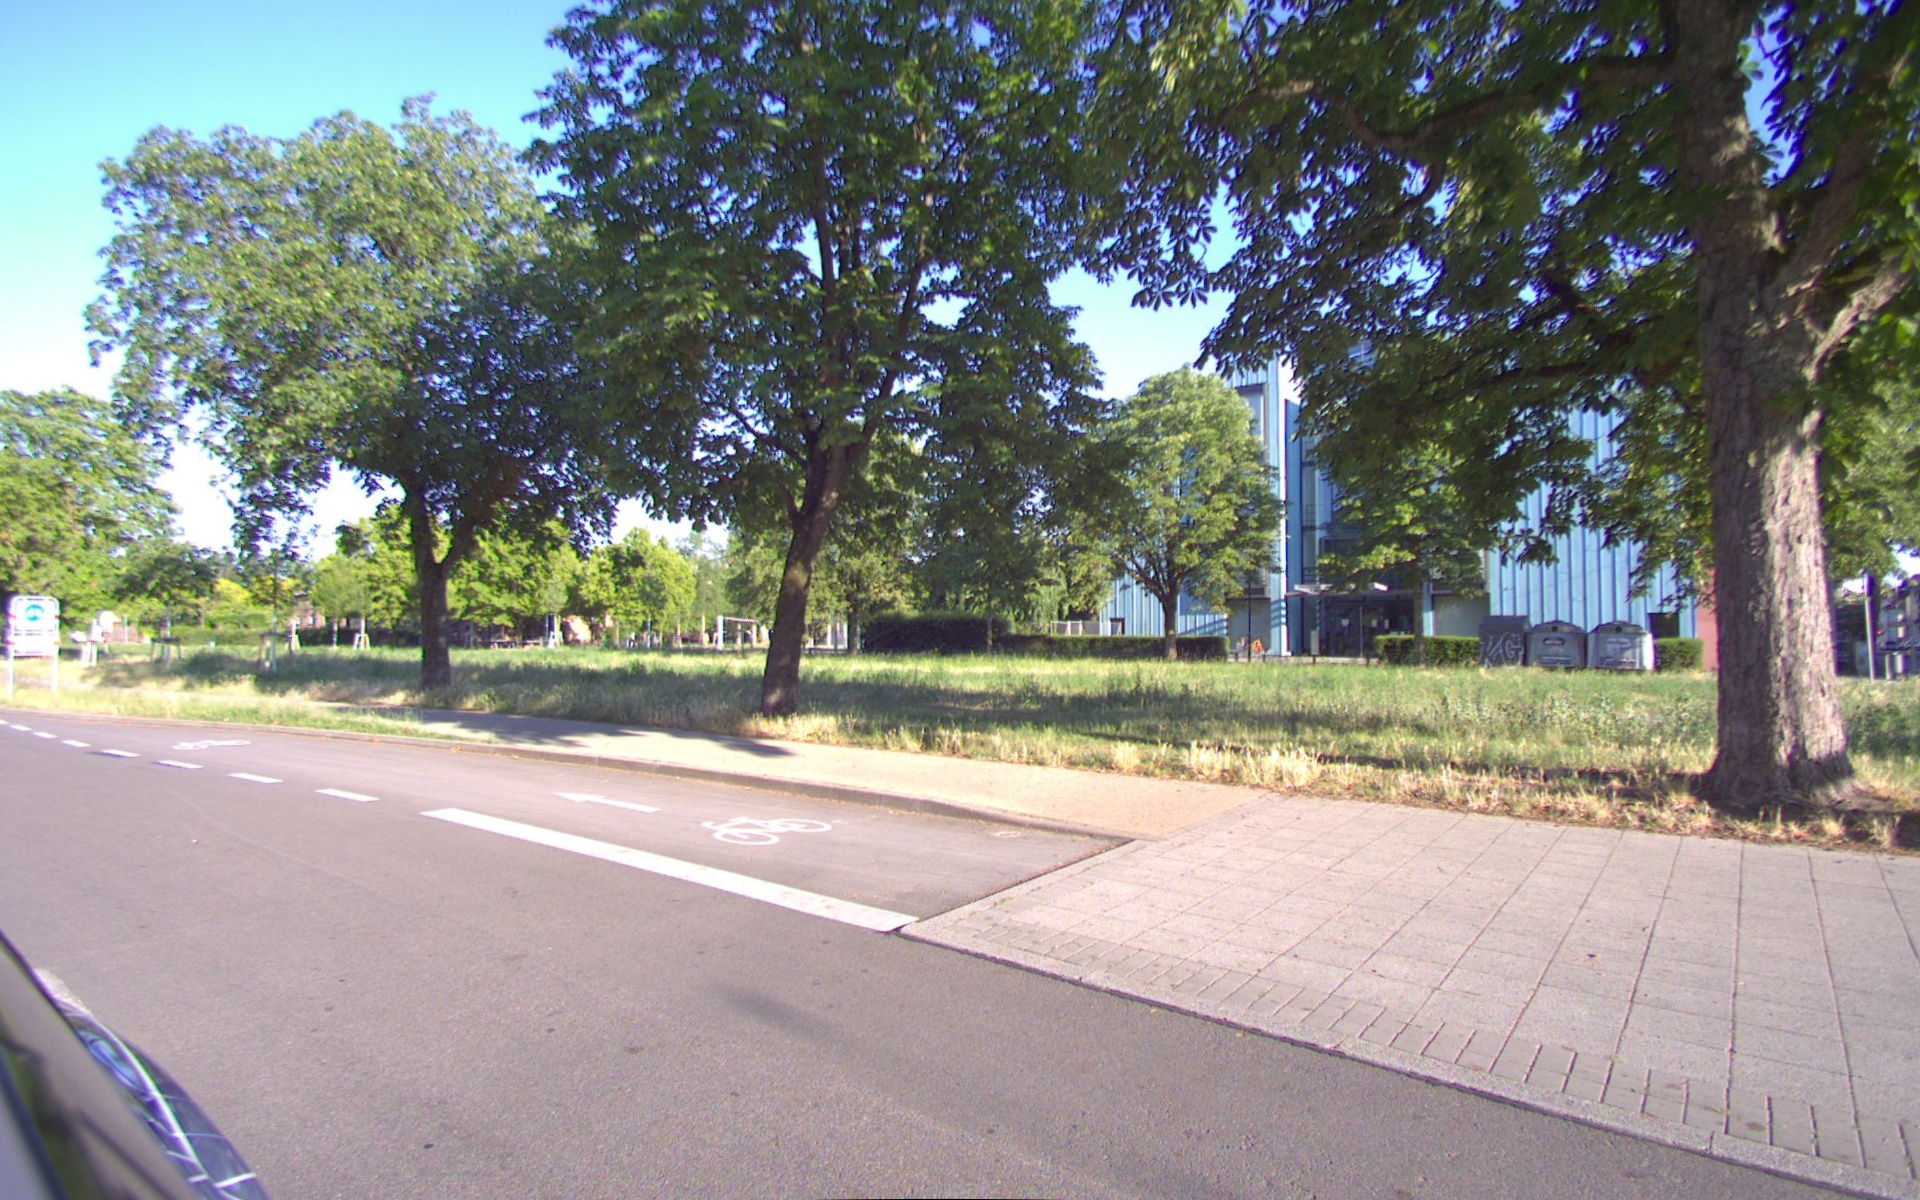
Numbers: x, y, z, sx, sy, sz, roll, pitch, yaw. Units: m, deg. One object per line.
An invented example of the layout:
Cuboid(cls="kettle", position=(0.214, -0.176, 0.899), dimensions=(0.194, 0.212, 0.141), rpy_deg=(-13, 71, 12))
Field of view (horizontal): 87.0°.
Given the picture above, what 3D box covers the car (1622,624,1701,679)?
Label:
Cuboid(cls="car", position=(23.527, 1.759, 33.859), dimensions=(1.996, 1.684, 5.158), rpy_deg=(-1, -4, 37))
